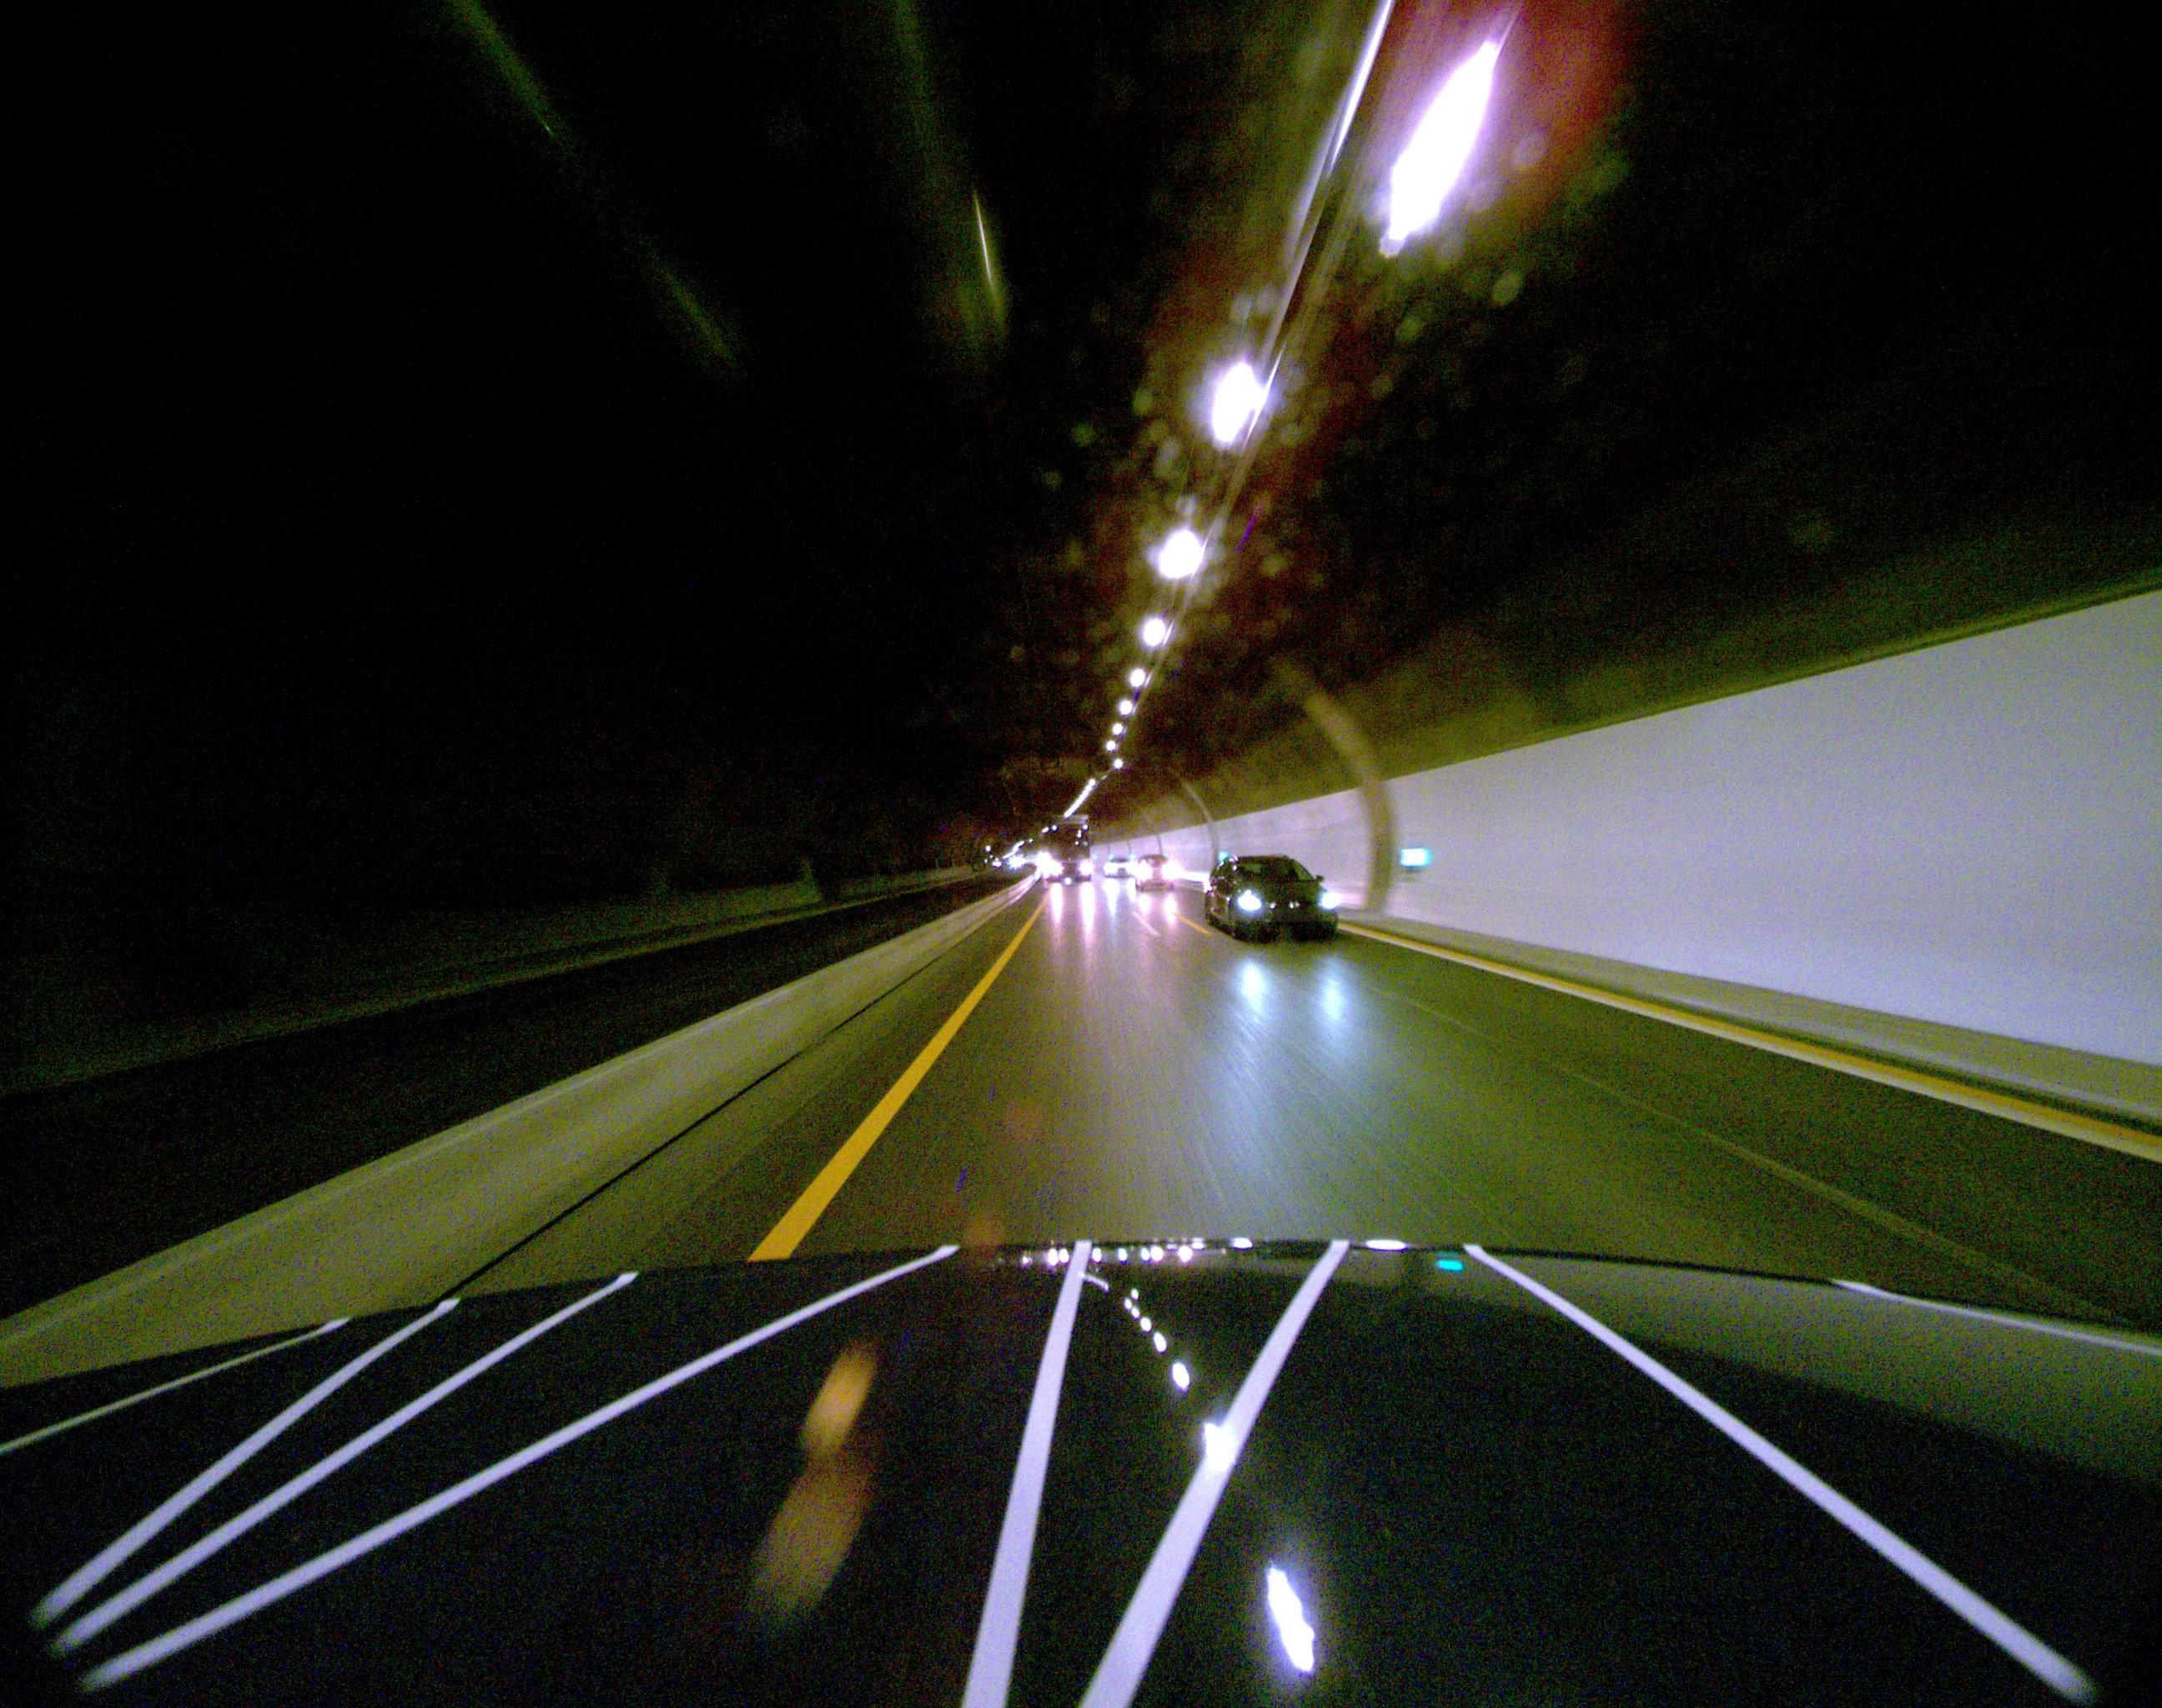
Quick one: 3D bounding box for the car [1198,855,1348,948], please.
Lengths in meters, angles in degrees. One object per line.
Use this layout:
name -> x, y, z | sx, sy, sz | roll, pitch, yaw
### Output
car -> 3.521, 0.789, 14.869 | 1.782, 1.430, 4.883 | -2, 0, 2

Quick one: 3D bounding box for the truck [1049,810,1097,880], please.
truck -> -0.573, -0.555, 49.671 | 2.742, 4.127, 8.099 | -2, 0, -1

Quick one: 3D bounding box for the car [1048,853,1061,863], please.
car -> -4.078, 0.598, 116.638 | 1.999, 1.524, 3.999 | -2, 0, -3

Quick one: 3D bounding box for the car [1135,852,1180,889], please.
car -> 3.288, 0.701, 33.214 | 1.531, 1.508, 2.651 | -2, 0, -3

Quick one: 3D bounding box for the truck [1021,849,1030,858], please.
truck -> -18.179, -0.180, 247.337 | 2.611, 2.723, 6.393 | -2, 0, -7

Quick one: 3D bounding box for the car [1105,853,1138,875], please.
car -> 2.768, 0.688, 52.660 | 1.909, 1.412, 4.060 | -2, 0, -1
